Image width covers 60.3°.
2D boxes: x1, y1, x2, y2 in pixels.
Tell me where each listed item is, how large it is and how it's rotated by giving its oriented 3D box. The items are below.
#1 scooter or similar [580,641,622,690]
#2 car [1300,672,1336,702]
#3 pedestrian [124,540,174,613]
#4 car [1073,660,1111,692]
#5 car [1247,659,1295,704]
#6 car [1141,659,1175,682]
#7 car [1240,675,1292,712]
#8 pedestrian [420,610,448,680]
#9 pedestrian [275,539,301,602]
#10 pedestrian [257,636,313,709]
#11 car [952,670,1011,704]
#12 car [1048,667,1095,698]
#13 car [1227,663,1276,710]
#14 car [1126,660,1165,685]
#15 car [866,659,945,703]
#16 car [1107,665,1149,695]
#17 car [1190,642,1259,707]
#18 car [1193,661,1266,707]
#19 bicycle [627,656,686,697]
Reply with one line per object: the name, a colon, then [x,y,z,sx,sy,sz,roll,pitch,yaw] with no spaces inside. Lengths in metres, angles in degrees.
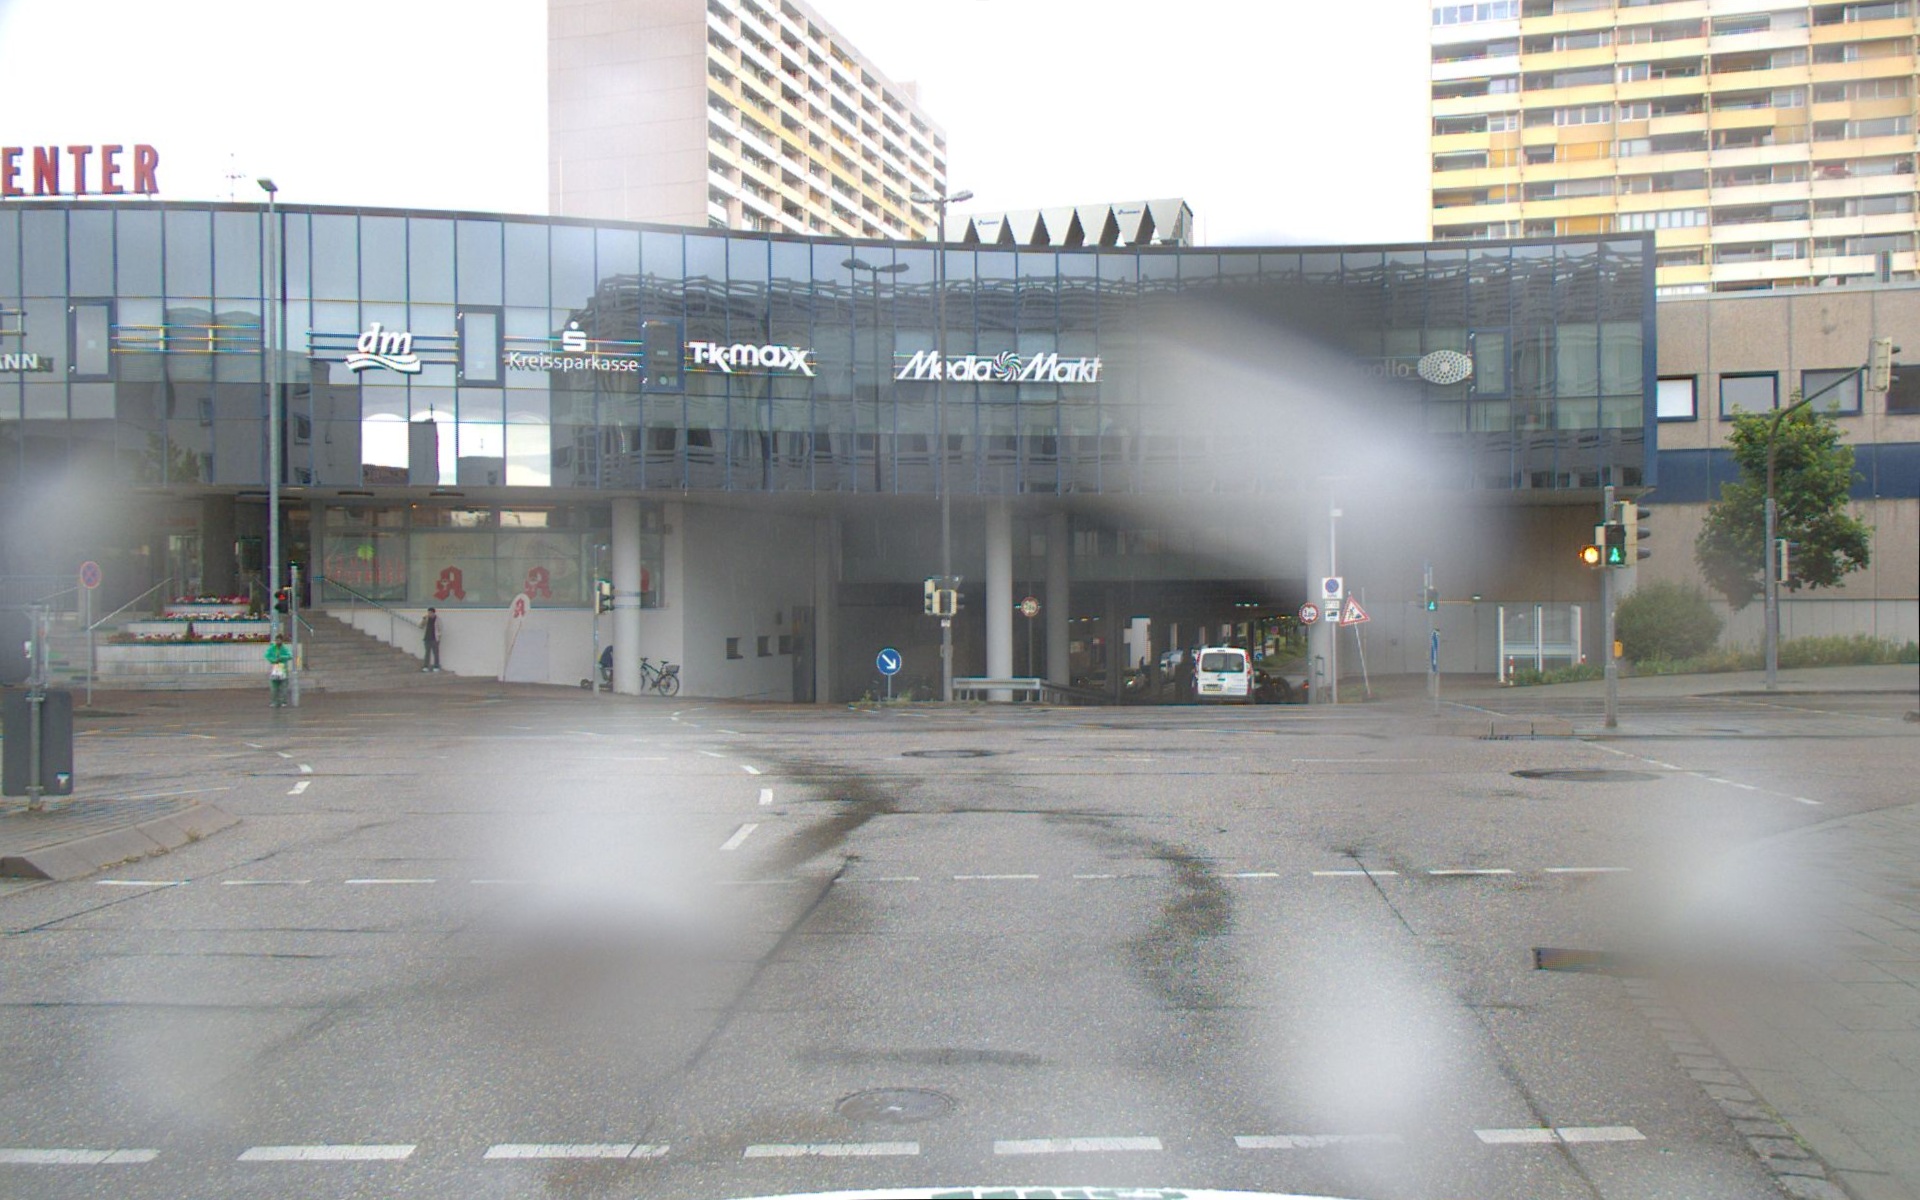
scooter or similar: [-10.429,1.903,48.022,1.147,1.397,0.487,1,-1,-16]
car: [19.743,4.775,91.129,1.847,1.517,3.844,1,-1,13]
pedestrian: [-23.426,-0.668,47.774,0.929,2.049,0.833,1,-1,9]
car: [7.687,4.409,96.139,1.797,1.758,4.003,-1,-1,11]
car: [13.369,3.466,70.958,1.753,1.802,4.003,-1,-1,14]
car: [13.758,4.862,114.733,1.951,1.489,4.003,-1,-1,12]
car: [12.242,3.745,66.021,1.741,1.425,4.002,-1,-4,15]
pedestrian: [-14.872,1.269,46.788,0.643,1.942,0.593,1,-1,-9]
pedestrian: [-19.642,-0.857,48.359,0.622,1.839,0.501,1,-1,-18]
pedestrian: [-15.614,1.666,38.271,0.929,1.652,0.809,-1,-1,2]
car: [1.000,3.920,74.385,1.733,1.490,3.878,-1,-3,15]
car: [6.190,4.539,91.316,1.874,1.616,3.941,-1,-1,15]
car: [10.793,3.225,61.151,1.598,1.640,4.265,-2,-4,12]
car: [12.309,4.786,109.629,1.951,1.489,4.003,-1,-1,15]
car: [-2.016,3.080,62.418,1.852,1.496,4.029,-1,-5,16]
car: [10.353,4.912,101.960,1.951,1.693,4.003,1,-1,15]
car: [7.819,2.181,48.690,1.884,1.829,4.299,-1,-2,10]
car: [9.208,2.882,56.396,1.721,1.490,3.943,-2,-4,20]
bicycle: [-8.893,2.248,48.540,1.566,1.036,0.447,7,-4,-32]
